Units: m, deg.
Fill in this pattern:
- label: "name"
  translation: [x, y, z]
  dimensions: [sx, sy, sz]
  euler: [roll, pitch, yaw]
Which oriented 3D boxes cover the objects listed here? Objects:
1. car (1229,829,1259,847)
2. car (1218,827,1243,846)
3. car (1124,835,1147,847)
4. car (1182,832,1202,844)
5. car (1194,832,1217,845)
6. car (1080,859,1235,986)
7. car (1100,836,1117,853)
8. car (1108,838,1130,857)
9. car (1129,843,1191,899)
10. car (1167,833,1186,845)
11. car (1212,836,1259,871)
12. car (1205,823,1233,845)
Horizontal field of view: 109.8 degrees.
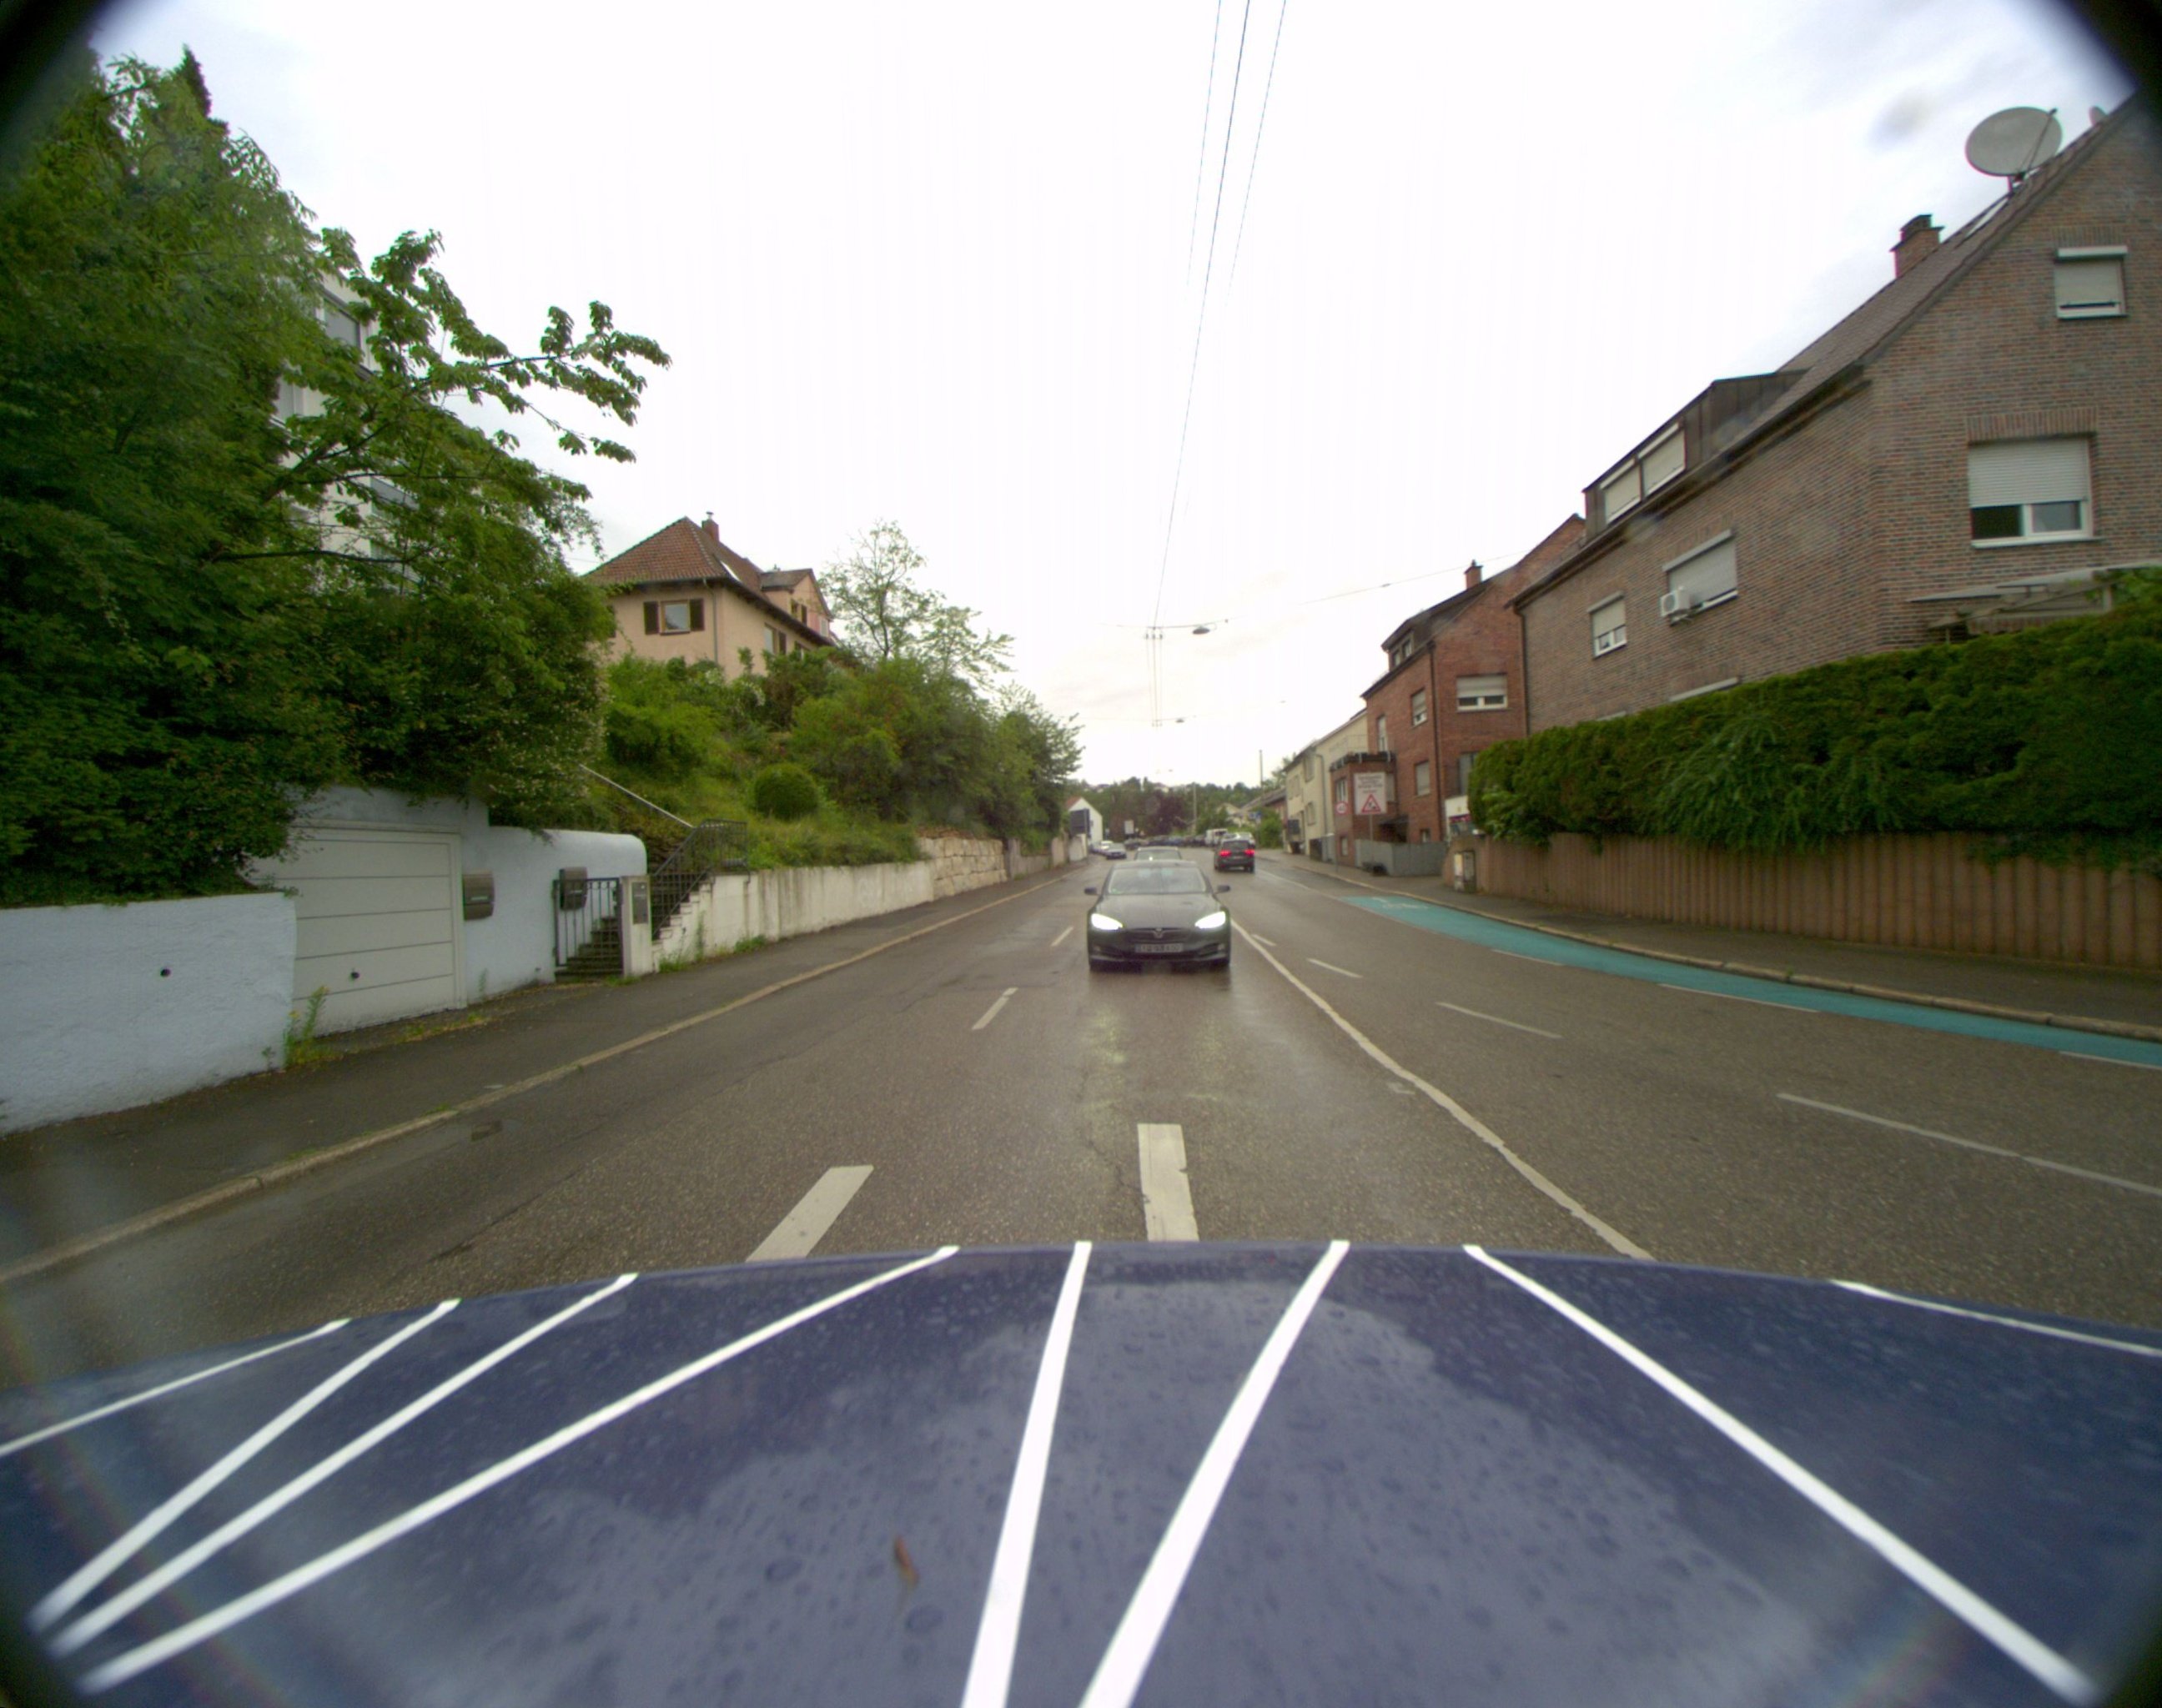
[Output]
- label: "car"
  translation: [15.377, -1.511, 71.988]
  dimensions: [1.946, 1.557, 4.263]
  euler: [-4, 1, 2]
- label: "car"
  translation: [15.747, -1.857, 80.136]
  dimensions: [1.814, 1.793, 4.263]
  euler: [-4, 1, 2]
- label: "car"
  translation: [7.422, -1.749, 103.124]
  dimensions: [1.923, 1.438, 3.712]
  euler: [-2, 1, -16]
- label: "car"
  translation: [14.255, -2.053, 97.378]
  dimensions: [1.654, 1.388, 3.859]
  euler: [-4, 1, -4]
- label: "car"
  translation: [14.951, -1.867, 91.527]
  dimensions: [1.654, 1.482, 4.009]
  euler: [-4, 1, -6]
- label: "car"
  translation: [1.095, 0.869, 11.378]
  dimensions: [1.870, 1.407, 4.000]
  euler: [-2, 1, 4]
- label: "car"
  translation: [3.213, -1.146, 89.067]
  dimensions: [1.820, 1.855, 4.038]
  euler: [-2, 2, -1]
- label: "car"
  translation: [3.668, -0.598, 73.196]
  dimensions: [2.002, 1.596, 4.360]
  euler: [-2, -1, 4]
- label: "car"
  translation: [2.475, 0.482, 24.303]
  dimensions: [1.789, 1.580, 3.784]
  euler: [-2, 1, 4]
- label: "car"
  translation: [12.871, -2.018, 102.569]
  dimensions: [1.624, 1.482, 3.901]
  euler: [-4, 1, -4]
- label: "car"
  translation: [7.833, -0.086, 38.796]
  dimensions: [1.853, 1.671, 4.173]
  euler: [0, 2, 4]
- label: "car"
  translation: [15.638, -2.282, 86.166]
  dimensions: [2.257, 2.273, 4.546]
  euler: [-4, 1, 0]
